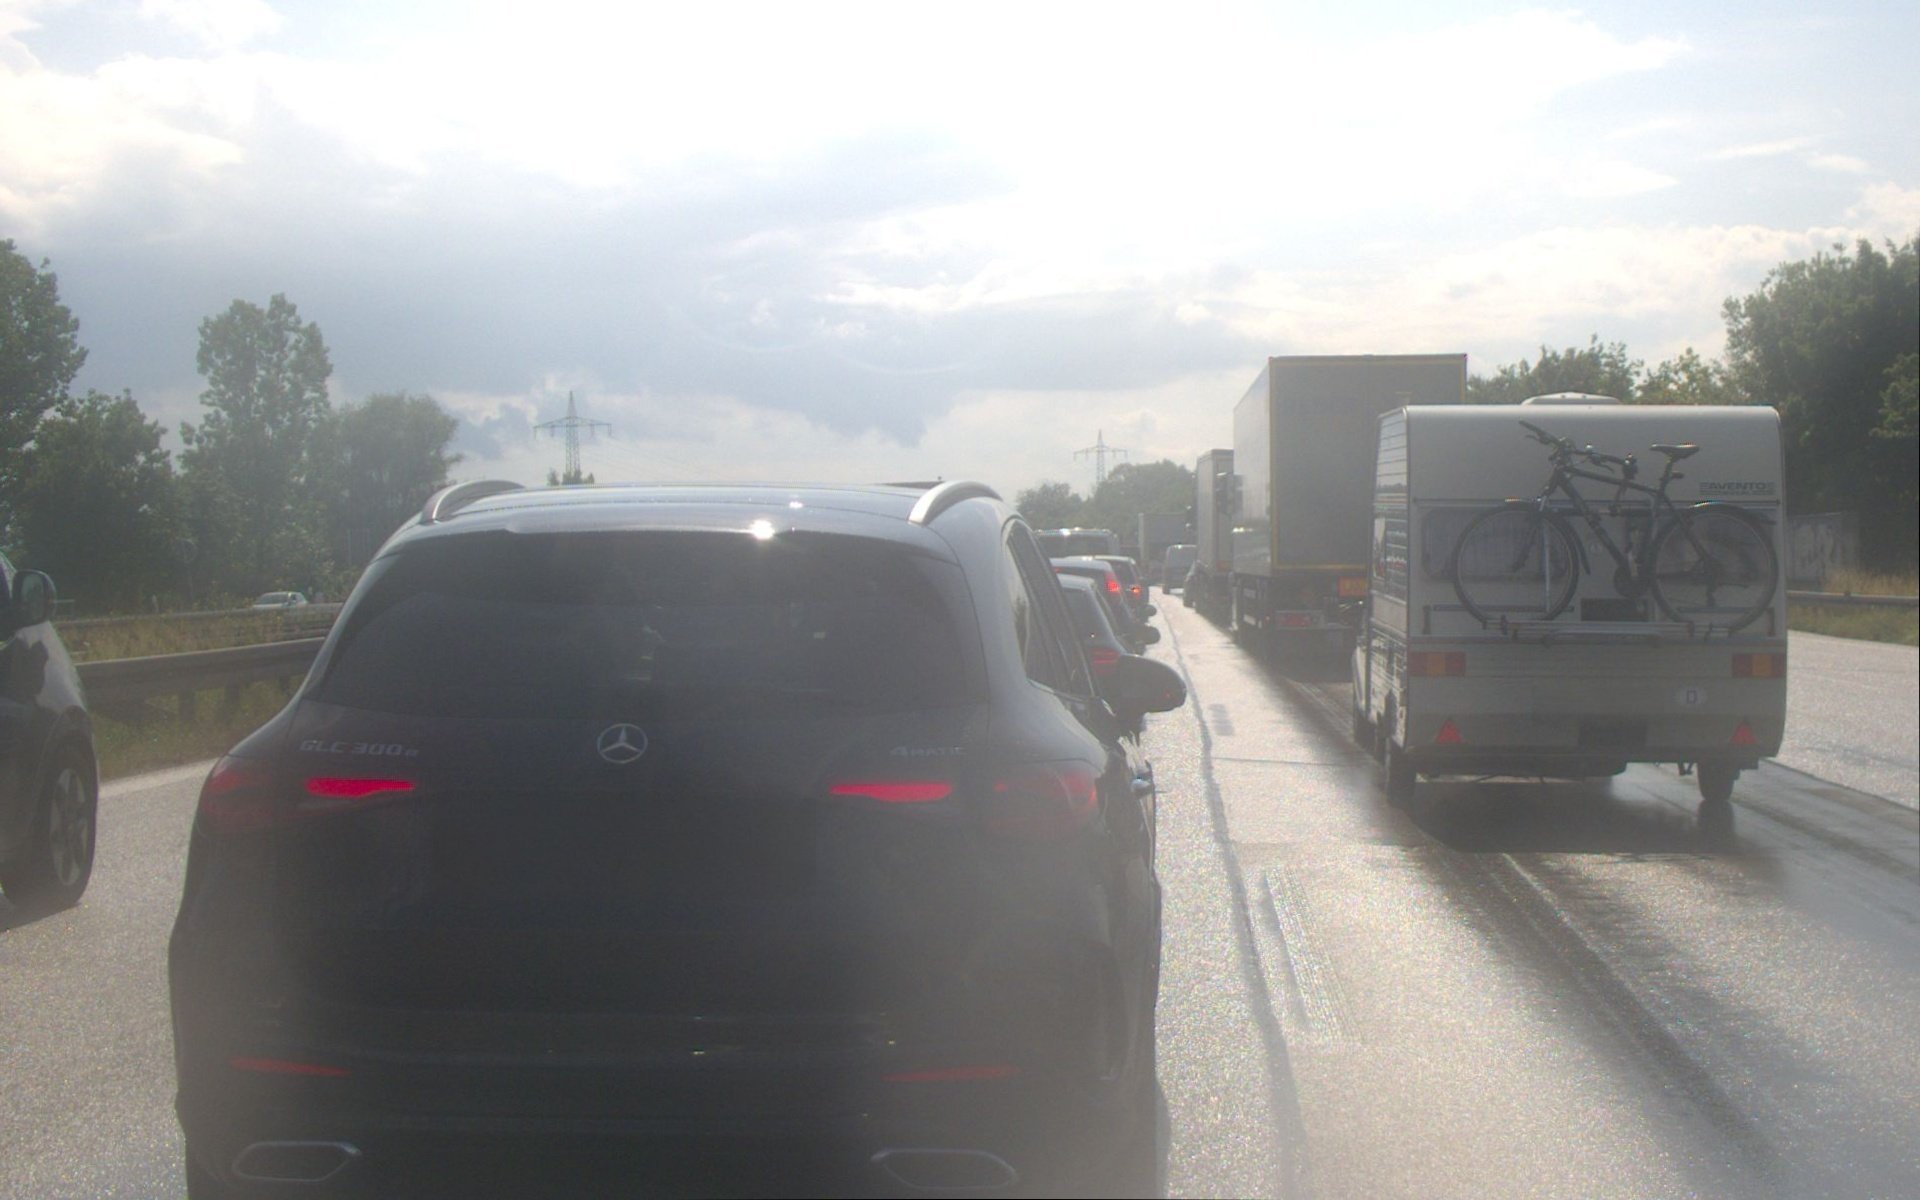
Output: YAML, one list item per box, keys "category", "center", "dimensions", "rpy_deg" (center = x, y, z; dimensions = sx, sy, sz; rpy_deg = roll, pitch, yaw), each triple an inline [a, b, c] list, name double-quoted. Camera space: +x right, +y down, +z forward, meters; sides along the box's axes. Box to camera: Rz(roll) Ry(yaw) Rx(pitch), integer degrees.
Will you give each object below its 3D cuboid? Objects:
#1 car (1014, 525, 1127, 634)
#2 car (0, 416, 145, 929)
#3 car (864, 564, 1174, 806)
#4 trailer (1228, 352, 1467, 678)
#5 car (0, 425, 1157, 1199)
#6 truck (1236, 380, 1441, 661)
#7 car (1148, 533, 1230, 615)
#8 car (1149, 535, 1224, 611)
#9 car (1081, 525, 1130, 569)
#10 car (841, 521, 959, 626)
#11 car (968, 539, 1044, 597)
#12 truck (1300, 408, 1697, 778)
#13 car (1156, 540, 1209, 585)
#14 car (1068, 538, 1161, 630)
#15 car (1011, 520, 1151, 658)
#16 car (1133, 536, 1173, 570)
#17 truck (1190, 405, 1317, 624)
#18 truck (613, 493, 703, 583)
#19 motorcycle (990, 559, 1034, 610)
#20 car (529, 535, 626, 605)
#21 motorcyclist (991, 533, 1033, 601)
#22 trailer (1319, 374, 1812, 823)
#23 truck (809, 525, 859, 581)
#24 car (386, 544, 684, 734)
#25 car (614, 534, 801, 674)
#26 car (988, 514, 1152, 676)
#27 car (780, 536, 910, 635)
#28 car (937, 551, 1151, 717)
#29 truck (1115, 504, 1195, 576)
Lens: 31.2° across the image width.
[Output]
- category: "car"
  center: [2.131, -0.400, 65.210]
  dimensions: [1.994, 2.007, 4.000]
  rpy_deg: [0, 1, 4]
- category: "car"
  center: [-4.811, 0.298, 12.720]
  dimensions: [1.994, 2.007, 5.269]
  rpy_deg: [0, 1, 4]
- category: "car"
  center: [0.464, 0.472, 21.937]
  dimensions: [1.757, 1.382, 3.944]
  rpy_deg: [0, 1, 4]
- category: "trailer"
  center: [5.354, -1.140, 48.212]
  dimensions: [3.007, 4.152, 8.534]
  rpy_deg: [0, 1, 5]
- category: "car"
  center: [-0.545, 0.513, 8.009]
  dimensions: [1.994, 1.656, 4.405]
  rpy_deg: [0, 1, 3]
- category: "truck"
  center: [5.862, -1.214, 53.677]
  dimensions: [2.996, 4.152, 5.239]
  rpy_deg: [0, 1, 5]
- category: "car"
  center: [5.884, -0.676, 88.366]
  dimensions: [1.994, 2.007, 4.000]
  rpy_deg: [2, 1, 4]
- category: "car"
  center: [6.506, -0.781, 98.755]
  dimensions: [1.994, 2.007, 4.000]
  rpy_deg: [4, 1, 4]
- category: "car"
  center: [6.030, -2.197, 142.947]
  dimensions: [1.876, 1.754, 4.000]
  rpy_deg: [1, 1, 0]
- category: "car"
  center: [-1.208, -0.569, 71.475]
  dimensions: [1.994, 2.007, 4.000]
  rpy_deg: [4, 1, 4]
- category: "car"
  center: [1.407, -0.972, 103.421]
  dimensions: [1.994, 1.610, 4.000]
  rpy_deg: [4, 1, 4]
- category: "truck"
  center: [3.907, -0.078, 26.049]
  dimensions: [2.374, 2.468, 5.755]
  rpy_deg: [1, 1, 3]
- category: "car"
  center: [8.860, -1.514, 137.310]
  dimensions: [1.876, 1.754, 4.000]
  rpy_deg: [1, 1, 0]
- category: "car"
  center: [3.595, -0.383, 79.480]
  dimensions: [1.994, 2.007, 4.000]
  rpy_deg: [2, 1, 4]
- category: "car"
  center: [1.985, -0.197, 55.162]
  dimensions: [1.994, 2.007, 4.000]
  rpy_deg: [4, 1, 4]
- category: "car"
  center: [9.980, -2.426, 178.207]
  dimensions: [1.876, 1.754, 4.000]
  rpy_deg: [1, 1, 0]
- category: "truck"
  center: [6.725, -1.927, 79.529]
  dimensions: [2.502, 4.813, 7.543]
  rpy_deg: [1, 1, 2]
- category: "truck"
  center: [-13.225, -2.671, 151.103]
  dimensions: [2.862, 3.808, 7.877]
  rpy_deg: [0, 0, 3]
- category: "motorcycle"
  center: [1.318, -0.391, 86.980]
  dimensions: [1.074, 1.267, 2.690]
  rpy_deg: [0, 1, 1]
- category: "car"
  center: [-11.416, -0.899, 102.926]
  dimensions: [1.994, 2.007, 5.558]
  rpy_deg: [-1, 1, 3]
- category: "motorcyclist"
  center: [1.325, -0.825, 87.159]
  dimensions: [1.064, 1.712, 0.785]
  rpy_deg: [0, 0, 2]
- category: "trailer"
  center: [3.710, -0.046, 22.422]
  dimensions: [2.374, 2.475, 6.522]
  rpy_deg: [1, 1, 3]
- category: "truck"
  center: [-9.441, -3.518, 257.853]
  dimensions: [3.005, 4.089, 7.686]
  rpy_deg: [-2, 0, 3]
- category: "car"
  center: [-3.567, 0.279, 29.593]
  dimensions: [1.757, 1.511, 4.208]
  rpy_deg: [0, 1, 4]
- category: "car"
  center: [-3.220, 0.031, 44.568]
  dimensions: [1.993, 1.714, 4.000]
  rpy_deg: [1, 1, 2]
- category: "car"
  center: [1.493, -0.091, 45.200]
  dimensions: [1.994, 2.007, 4.000]
  rpy_deg: [1, 1, 4]
- category: "car"
  center: [-2.095, -0.289, 63.849]
  dimensions: [1.994, 1.766, 4.000]
  rpy_deg: [1, 1, 4]
- category: "car"
  center: [0.829, 0.269, 31.524]
  dimensions: [1.806, 1.402, 4.000]
  rpy_deg: [1, 1, 3]
- category: "truck"
  center: [11.273, -3.444, 200.064]
  dimensions: [3.843, 4.003, 11.222]
  rpy_deg: [1, 1, -1]
